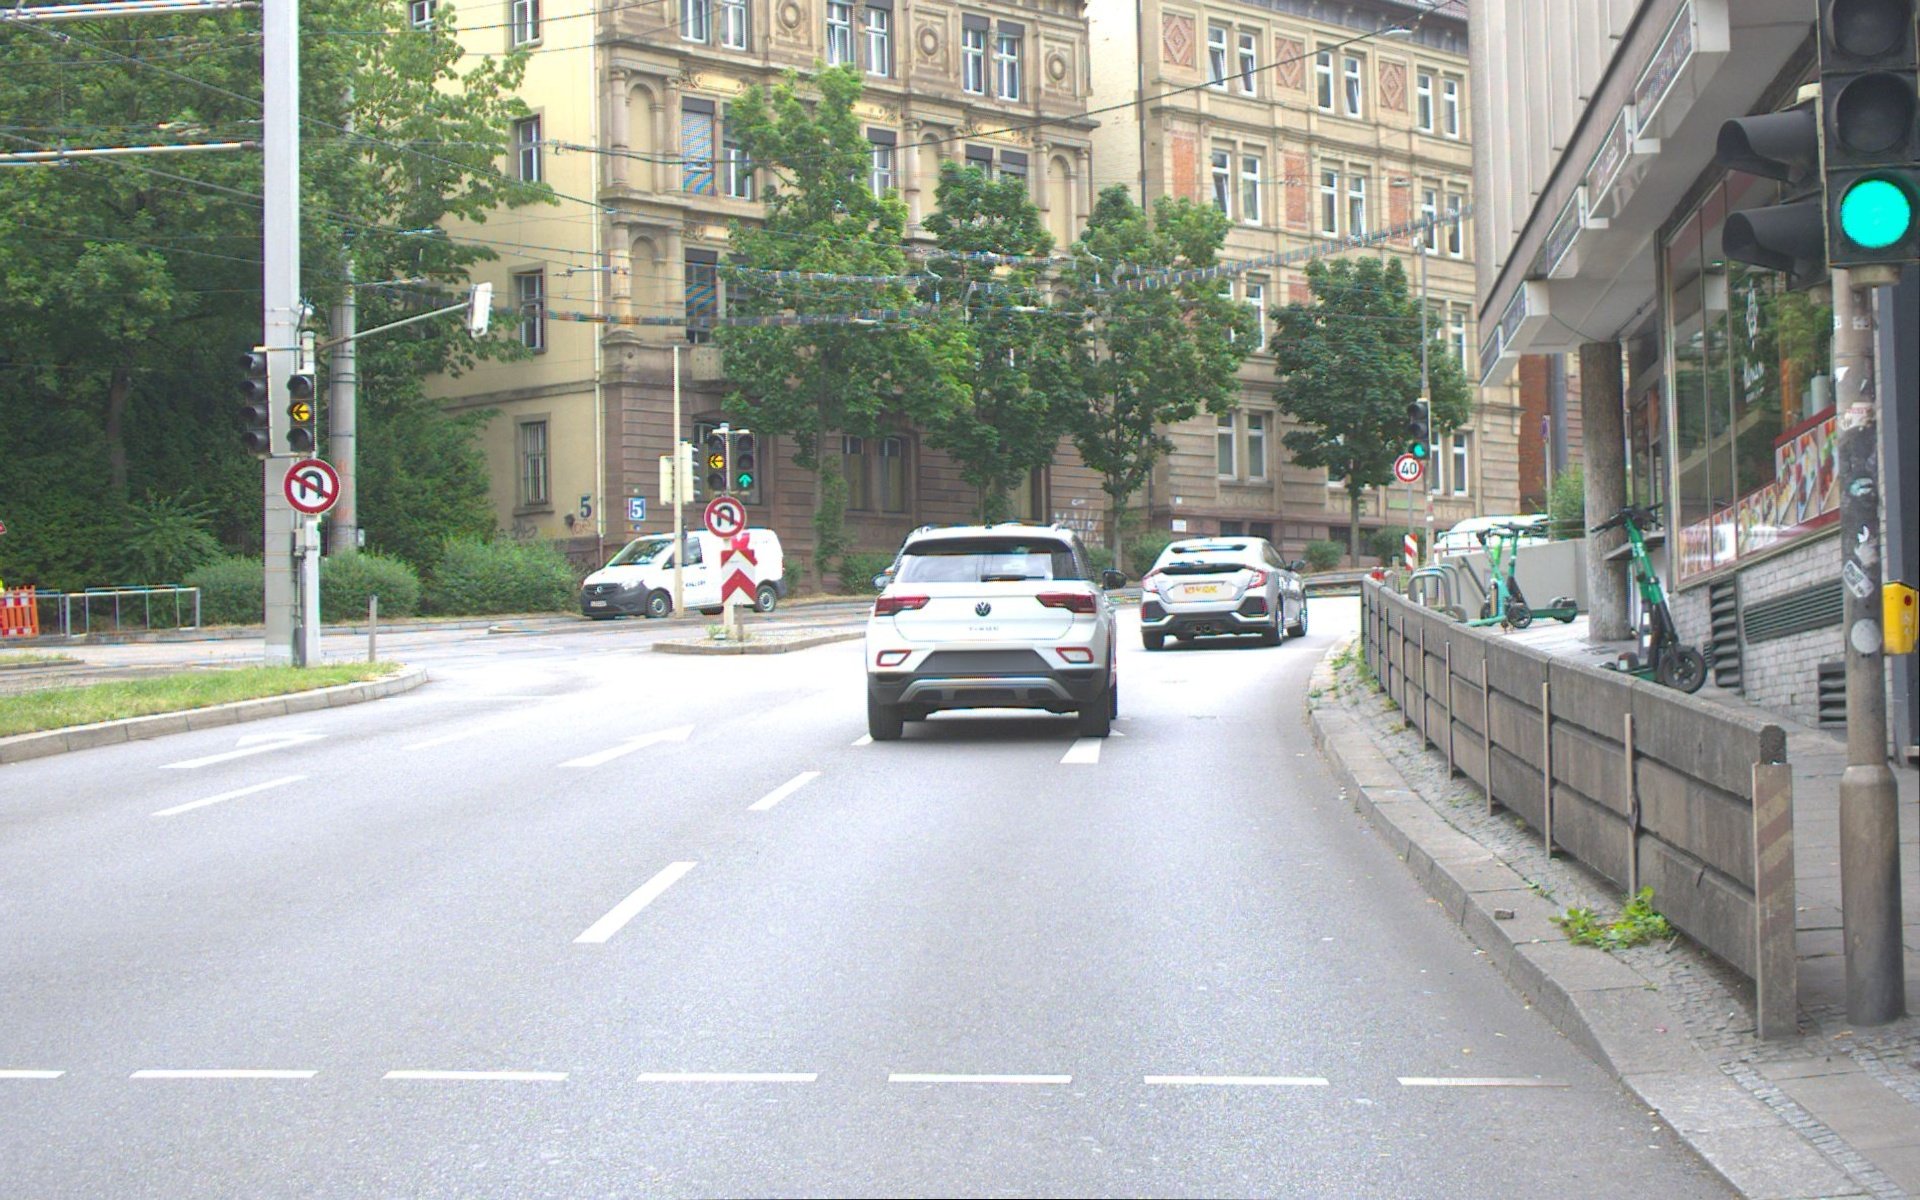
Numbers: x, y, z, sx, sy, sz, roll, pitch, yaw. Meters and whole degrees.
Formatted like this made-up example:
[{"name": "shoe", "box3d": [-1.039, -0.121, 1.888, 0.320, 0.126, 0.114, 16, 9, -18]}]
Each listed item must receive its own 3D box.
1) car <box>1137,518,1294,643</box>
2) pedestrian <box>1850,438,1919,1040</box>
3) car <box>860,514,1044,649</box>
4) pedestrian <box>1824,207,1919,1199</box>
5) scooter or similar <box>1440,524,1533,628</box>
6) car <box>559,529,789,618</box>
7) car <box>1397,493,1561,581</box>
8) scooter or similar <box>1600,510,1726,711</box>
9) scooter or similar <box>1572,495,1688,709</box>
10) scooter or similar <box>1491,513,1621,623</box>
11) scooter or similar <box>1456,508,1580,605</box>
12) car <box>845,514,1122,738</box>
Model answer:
[{"name": "car", "box3d": [3.319, -0.260, 45.262, 1.903, 1.568, 3.834, 1, 0, 2]}, {"name": "pedestrian", "box3d": [2.824, 0.367, 9.197, 0.562, 1.646, 0.591, -7, 1, 1]}, {"name": "car", "box3d": [-0.062, -0.288, 46.658, 1.840, 1.734, 3.999, 0, 1, 9]}, {"name": "pedestrian", "box3d": [2.311, 0.269, 6.792, 0.946, 2.055, 0.778, -2, 0, 2]}, {"name": "scooter or similar", "box3d": [6.131, -0.282, 40.030, 1.007, 1.178, 0.377, -2, 1, -26]}, {"name": "car", "box3d": [-6.137, -0.584, 74.191, 1.998, 1.843, 4.981, 1, 1, 40]}, {"name": "car", "box3d": [9.150, -1.089, 60.395, 1.940, 1.501, 3.801, 0, 1, 23]}, {"name": "scooter or similar", "box3d": [4.520, 0.056, 22.162, 0.631, 1.245, 1.333, -1, 1, 5]}, {"name": "scooter or similar", "box3d": [4.735, 0.006, 24.352, 0.668, 1.470, 1.178, -1, 1, 5]}, {"name": "scooter or similar", "box3d": [7.196, -0.390, 41.473, 1.441, 1.250, 0.557, -3, 1, -25]}, {"name": "scooter or similar", "box3d": [7.012, -0.547, 43.216, 1.440, 1.178, 0.583, -2, 1, -26]}, {"name": "car", "box3d": [0.247, 0.163, 26.203, 1.938, 1.561, 4.046, 0, 1, 2]}]
